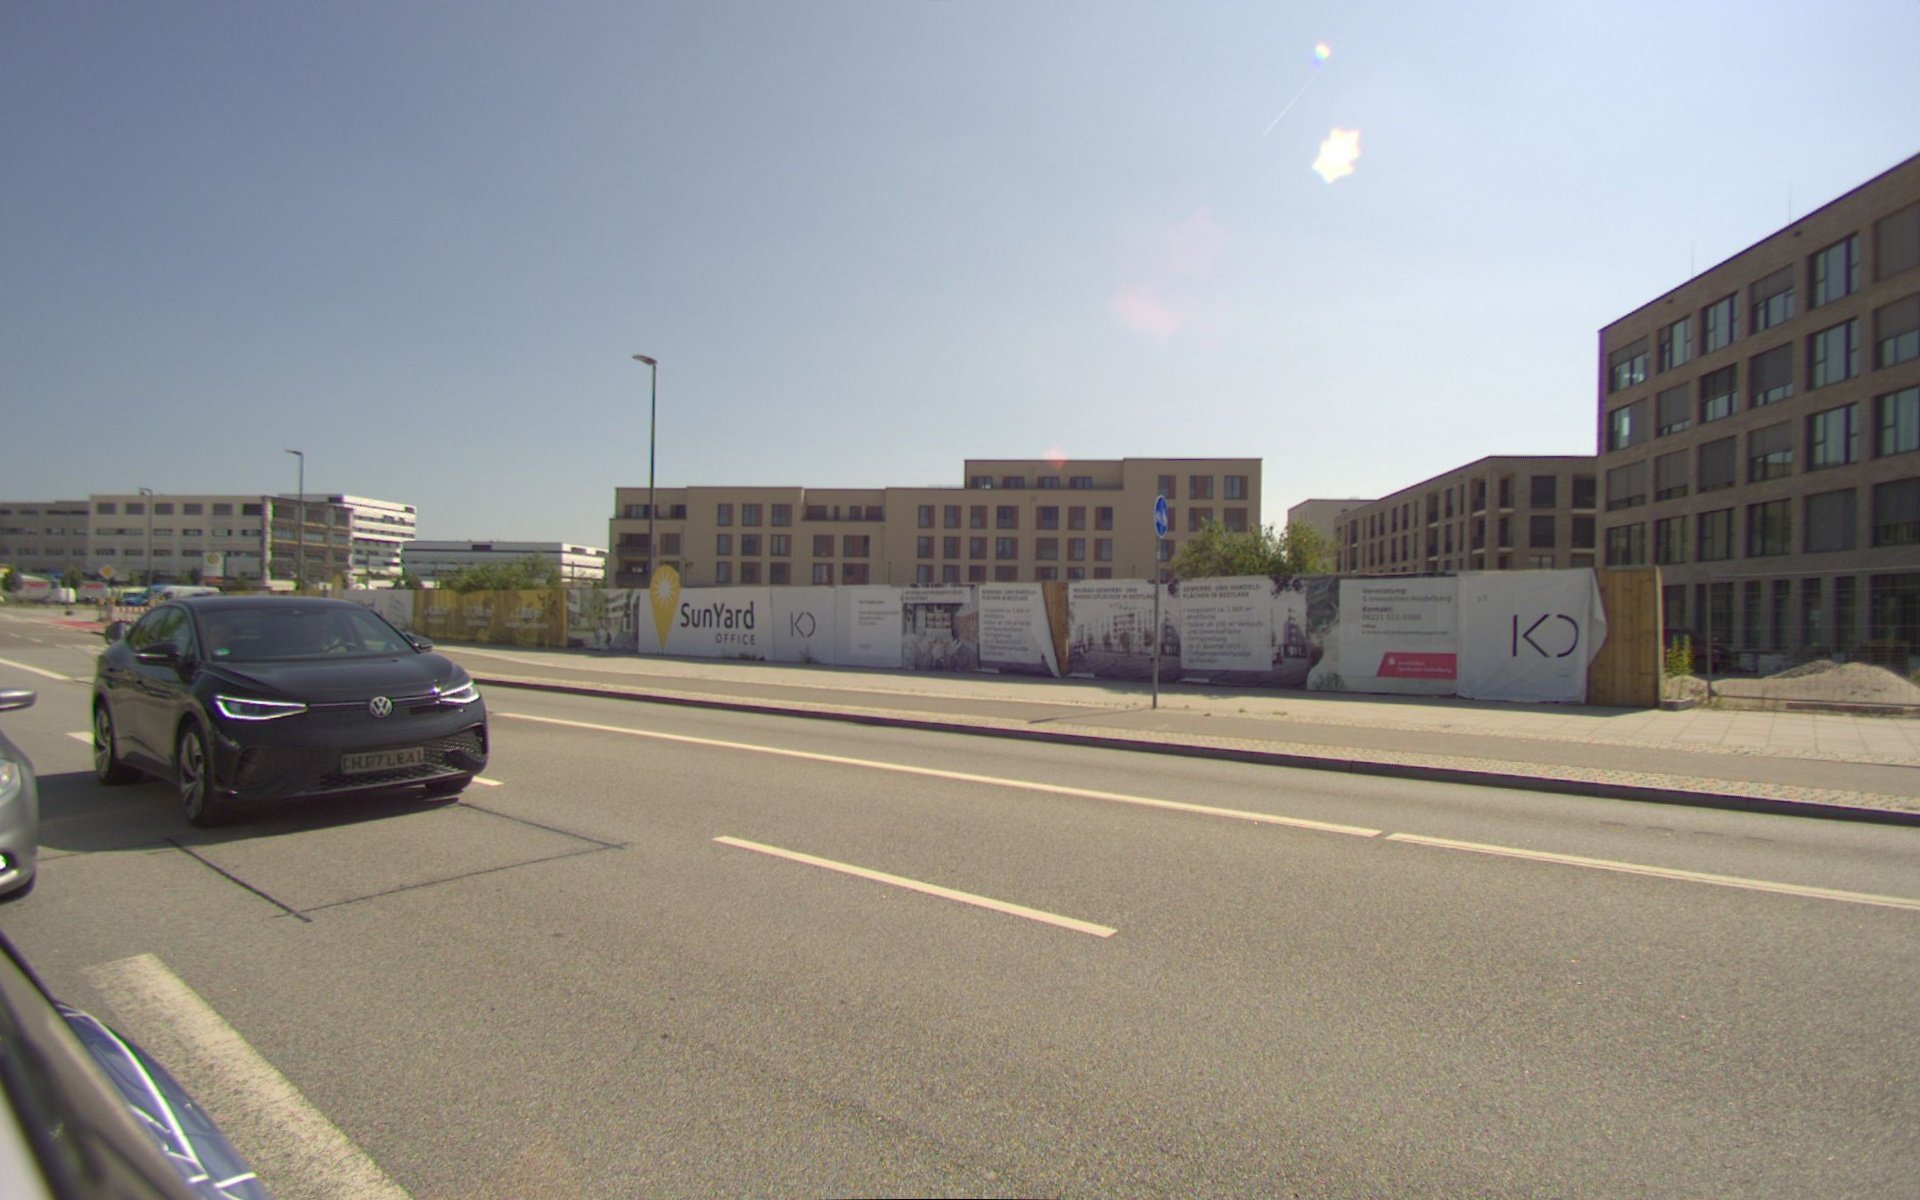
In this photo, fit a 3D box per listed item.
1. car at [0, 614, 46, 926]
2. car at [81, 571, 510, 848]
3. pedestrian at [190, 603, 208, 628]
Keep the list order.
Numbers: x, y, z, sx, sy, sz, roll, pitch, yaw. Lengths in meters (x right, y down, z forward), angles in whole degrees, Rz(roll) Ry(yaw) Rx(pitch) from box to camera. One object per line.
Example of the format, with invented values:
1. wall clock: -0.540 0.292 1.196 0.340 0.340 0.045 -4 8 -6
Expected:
1. car: -6.322 0.789 5.340 4.134 1.390 1.762 -1 0 41
2. car: -5.517 0.666 8.155 4.364 1.654 1.783 -1 0 41
3. pedestrian: -48.884 0.972 65.012 0.610 1.598 0.703 -1 0 5
